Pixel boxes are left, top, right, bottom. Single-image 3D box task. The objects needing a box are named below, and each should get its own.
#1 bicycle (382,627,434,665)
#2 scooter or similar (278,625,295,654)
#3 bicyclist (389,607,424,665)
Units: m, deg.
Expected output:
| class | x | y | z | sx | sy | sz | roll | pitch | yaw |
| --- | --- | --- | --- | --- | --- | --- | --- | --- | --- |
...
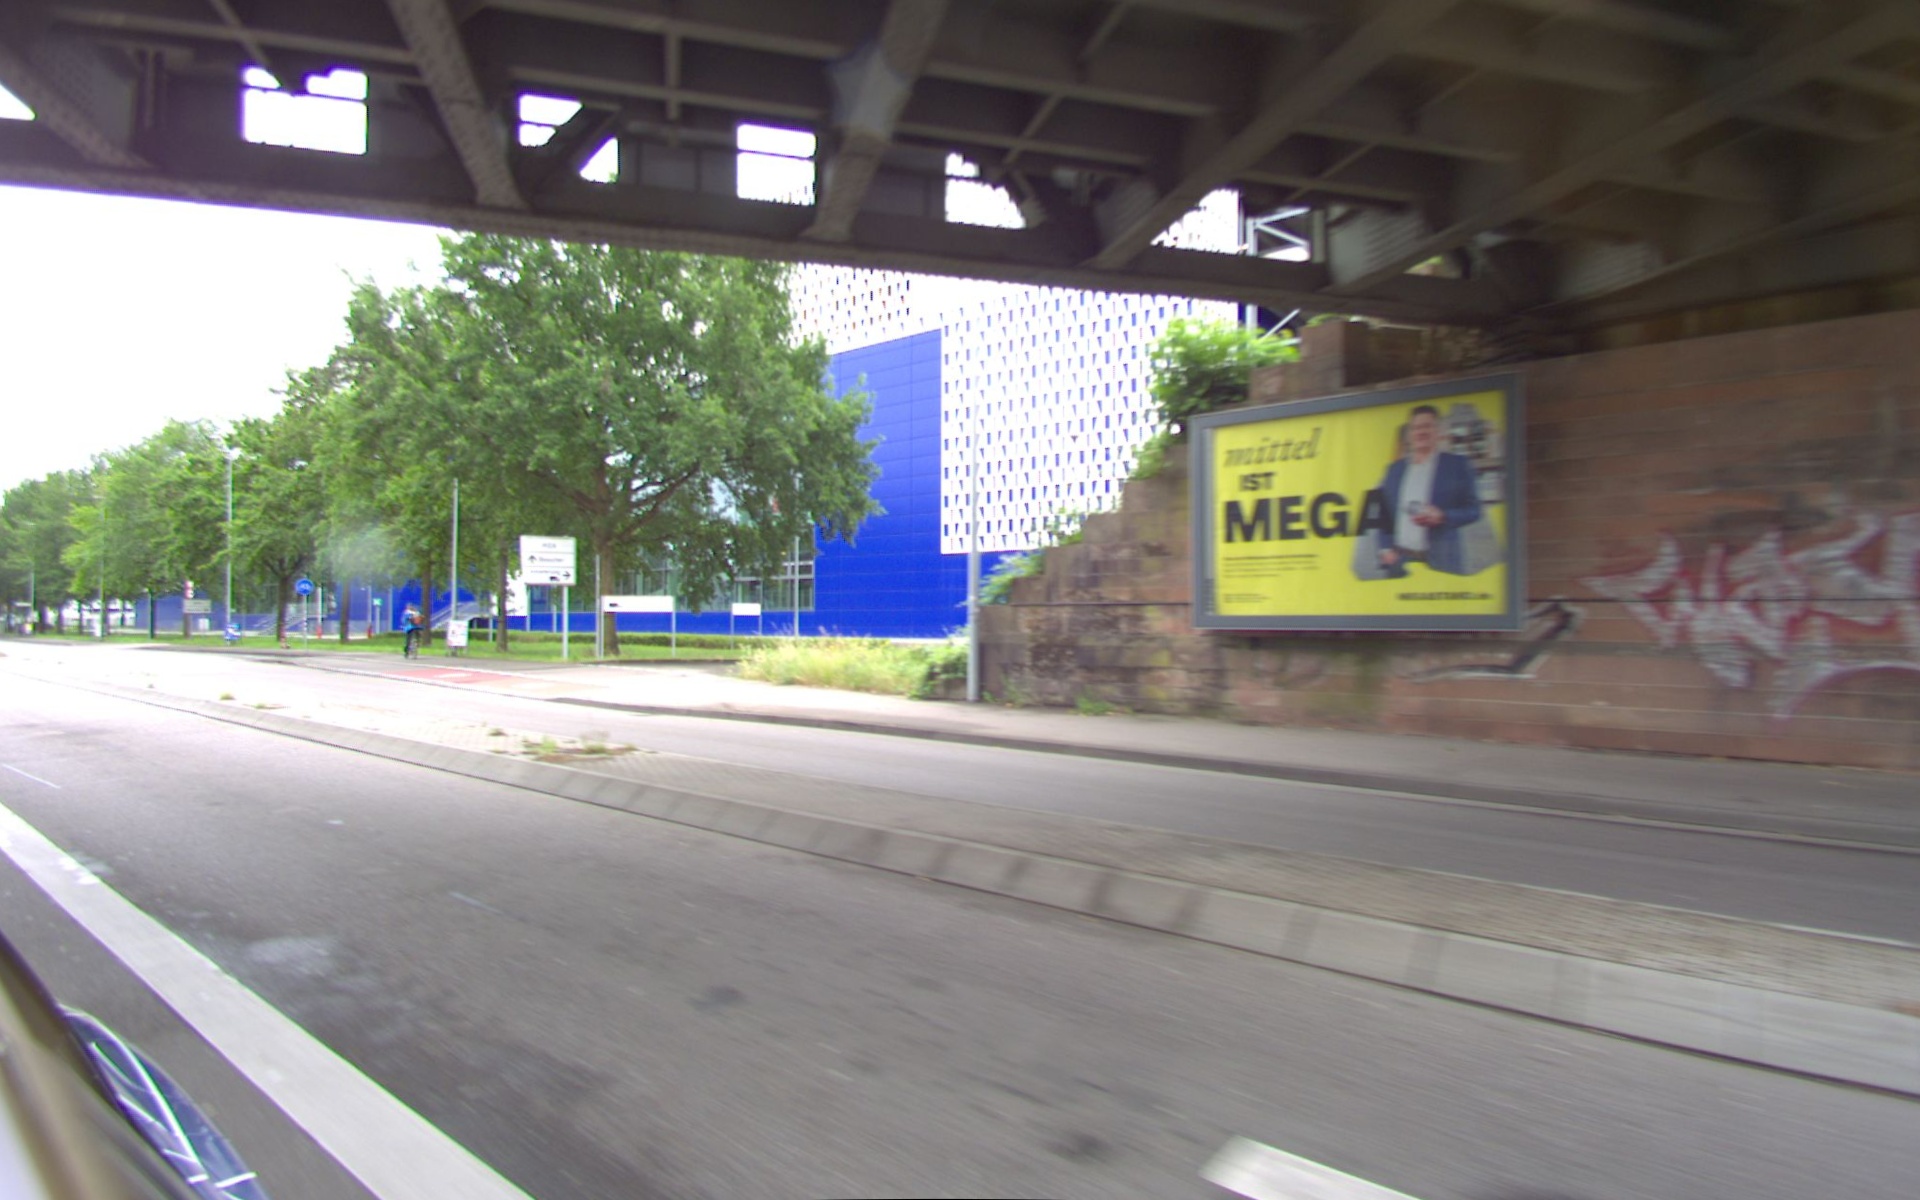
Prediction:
| class | x | y | z | sx | sy | sz | roll | pitch | yaw |
| --- | --- | --- | --- | --- | --- | --- | --- | --- | --- |
| bicycle | -18.601 | 1.530 | 34.073 | 2.368 | 1.196 | 0.706 | 0 | 0 | 40 |
| scooter or similar | -31.130 | 1.802 | 46.764 | 0.441 | 1.331 | 1.507 | 1 | -2 | -41 |
| bicyclist | -18.640 | 1.192 | 34.095 | 1.019 | 1.888 | 0.695 | -1 | 0 | 40 |
